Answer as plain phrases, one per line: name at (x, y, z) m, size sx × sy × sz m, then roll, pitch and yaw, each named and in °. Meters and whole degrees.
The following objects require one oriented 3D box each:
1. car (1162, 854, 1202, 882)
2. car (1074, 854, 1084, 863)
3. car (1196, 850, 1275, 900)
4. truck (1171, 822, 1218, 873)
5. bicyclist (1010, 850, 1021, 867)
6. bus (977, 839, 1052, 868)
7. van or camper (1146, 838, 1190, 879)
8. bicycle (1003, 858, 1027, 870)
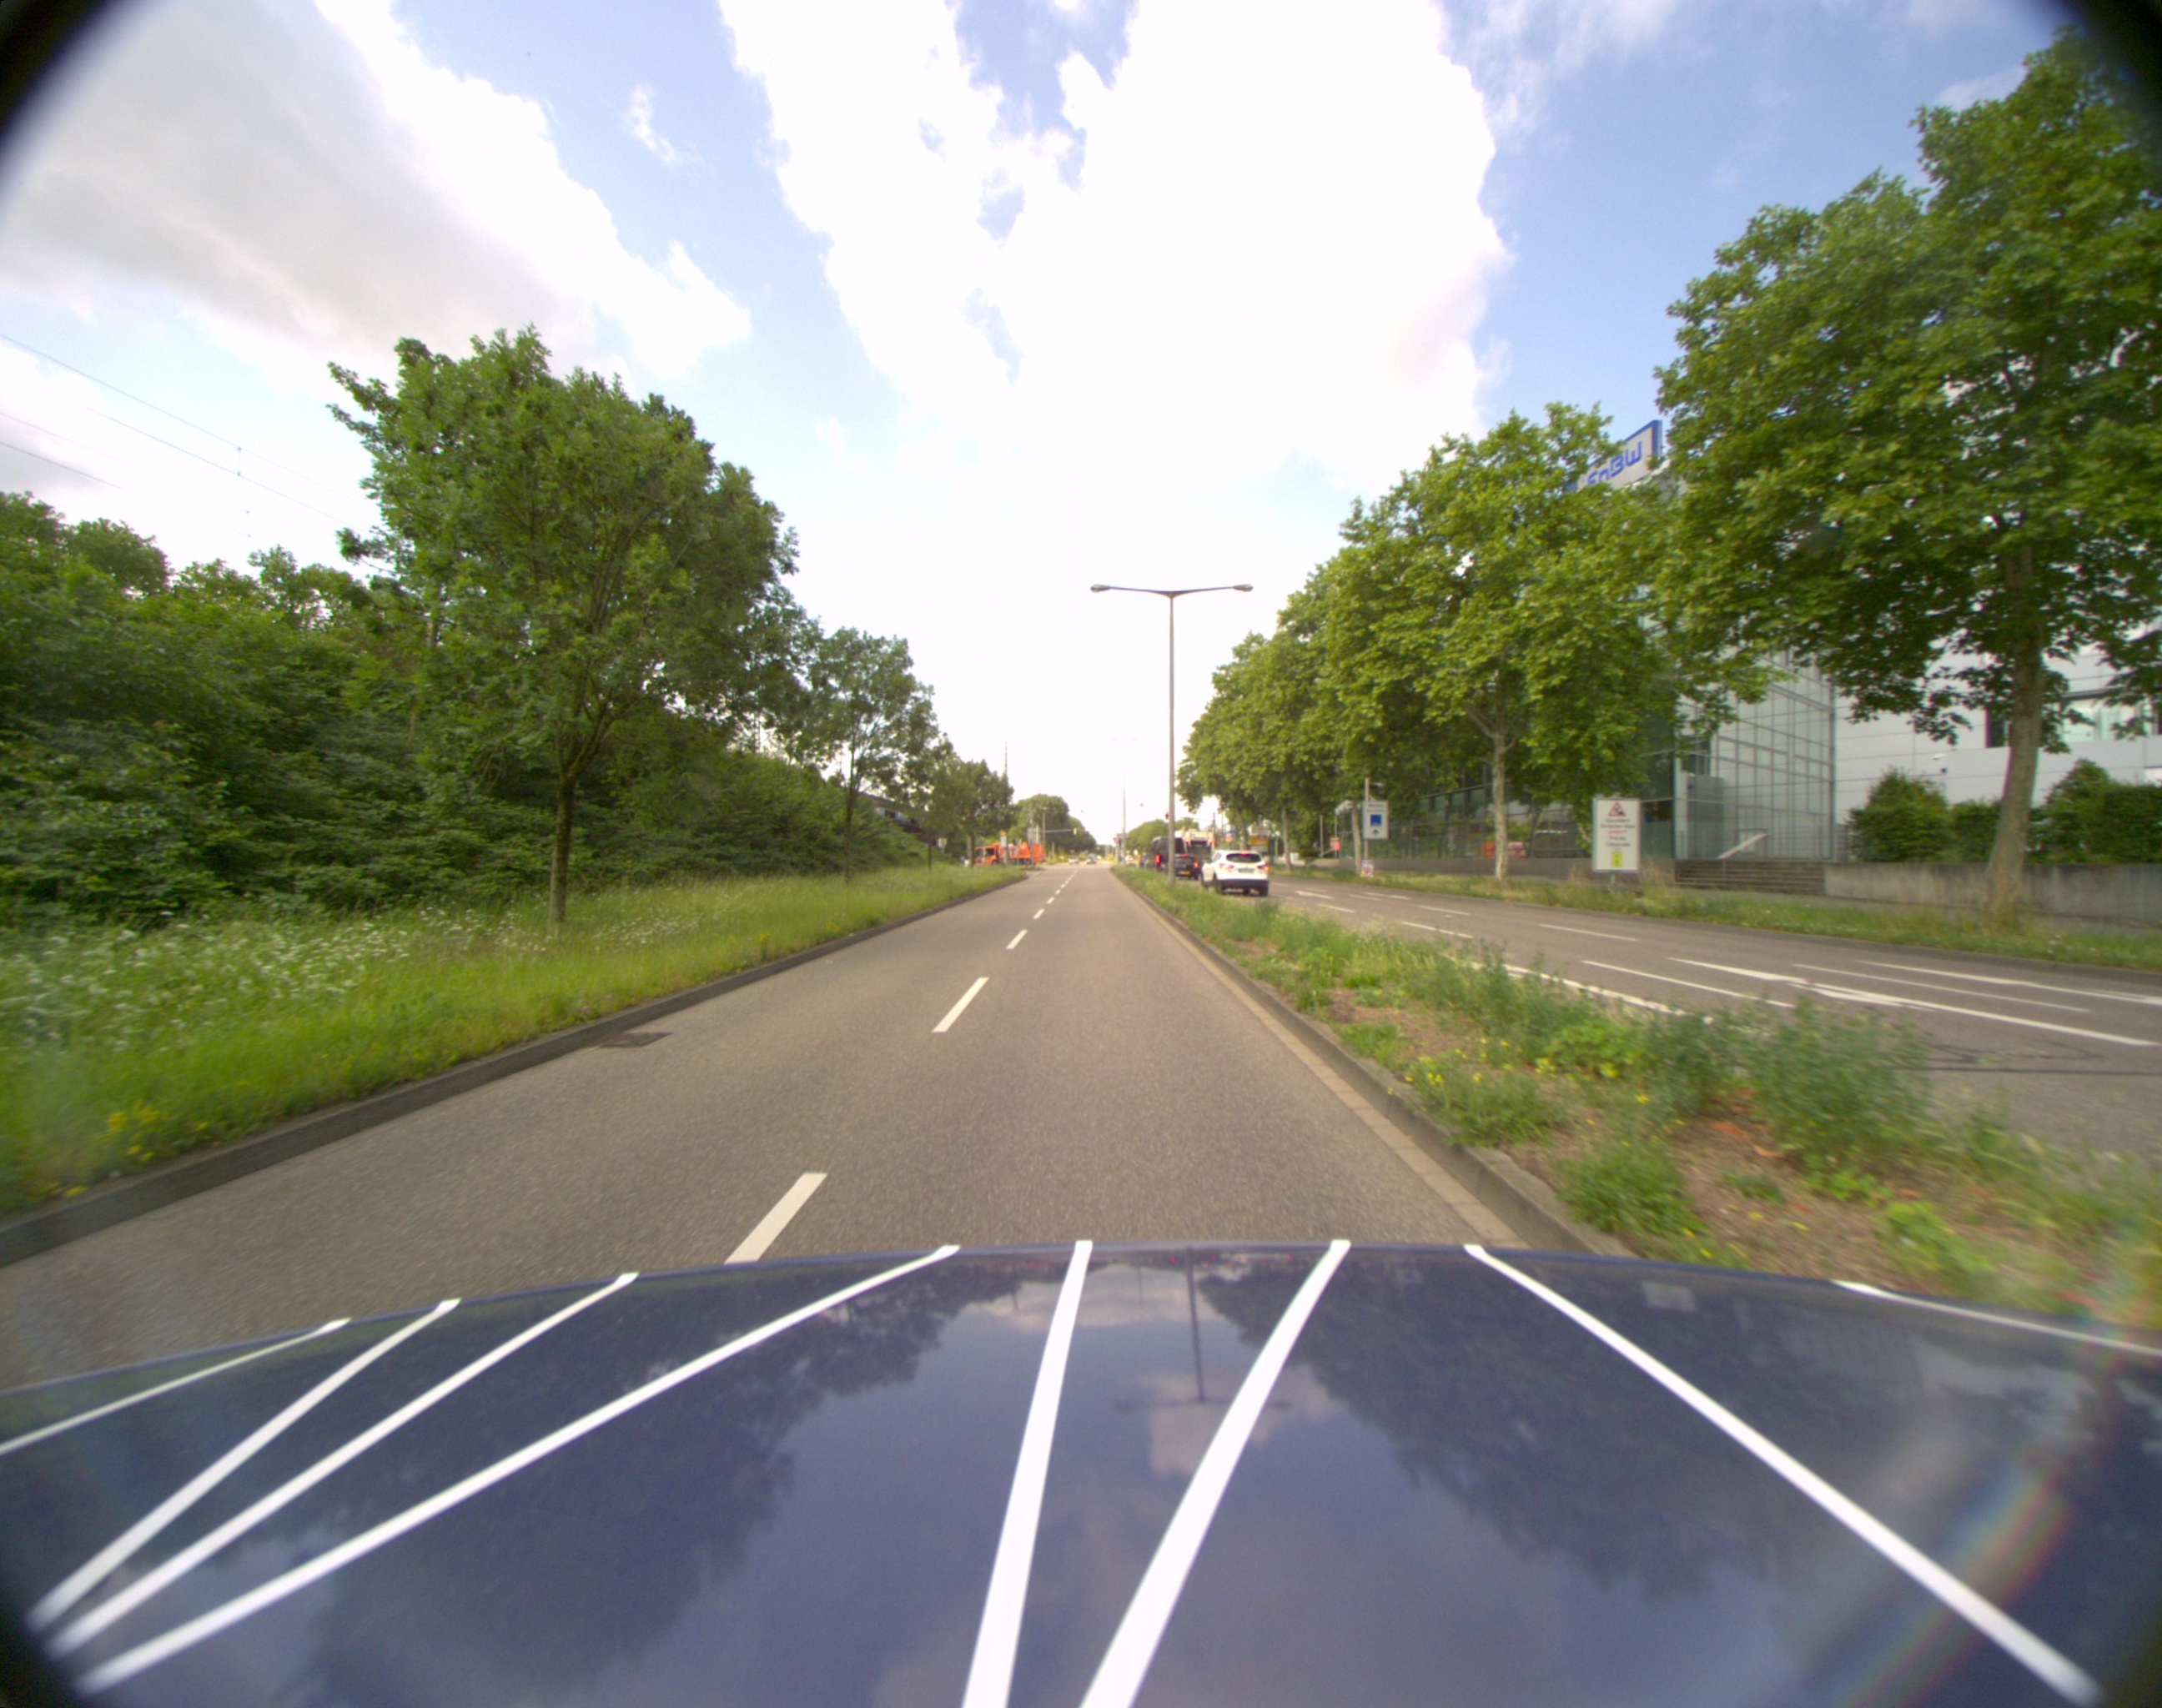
car at (5.762, 0.787, 43.646) m, size 1.698 × 1.455 × 3.940 m, roll 0°, pitch 1°, yaw -1°
car at (-0.338, 0.762, 135.241) m, size 1.716 × 1.477 × 4.000 m, roll -1°, pitch 0°, yaw 1°
car at (5.419, 0.691, 27.195) m, size 1.819 × 1.630 × 4.350 m, roll 1°, pitch 0°, yaw -1°
truck at (9.250, -0.529, 63.052) m, size 2.656 × 3.865 × 10.160 m, roll 1°, pitch 0°, yaw 2°
bicyclist at (-6.845, 0.433, 79.038) m, size 0.824 × 1.670 × 0.843 m, roll -3°, pitch 5°, yaw -27°
bus at (-9.275, -0.193, 107.404) m, size 10.410 × 3.447 × 2.739 m, roll -4°, pitch 3°, yaw -34°
van or camper at (6.019, 0.269, 53.296) m, size 2.110 × 2.644 × 6.716 m, roll 1°, pitch 0°, yaw -1°
bicycle at (-6.824, 1.069, 79.090) m, size 2.321 × 1.088 × 0.843 m, roll -3°, pitch 5°, yaw -27°
